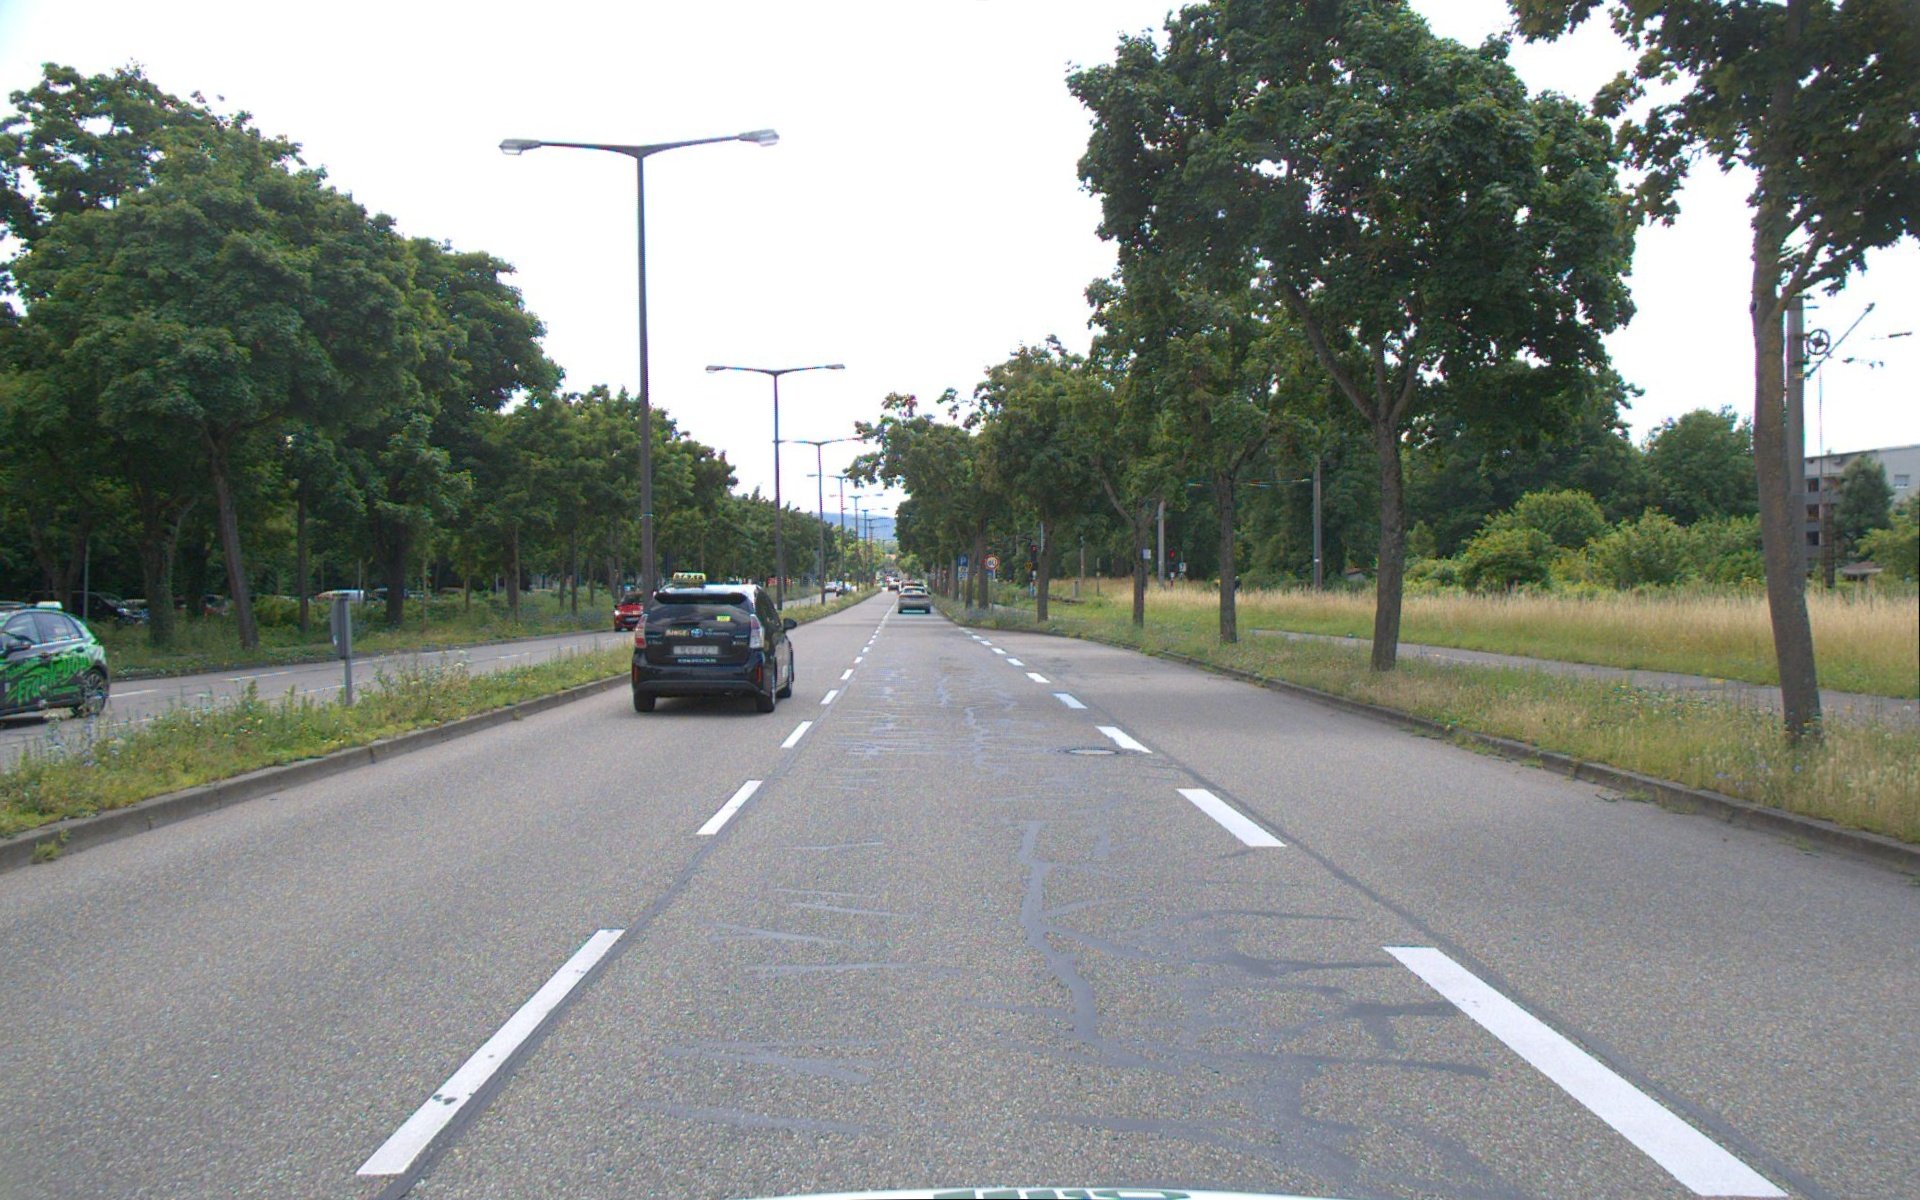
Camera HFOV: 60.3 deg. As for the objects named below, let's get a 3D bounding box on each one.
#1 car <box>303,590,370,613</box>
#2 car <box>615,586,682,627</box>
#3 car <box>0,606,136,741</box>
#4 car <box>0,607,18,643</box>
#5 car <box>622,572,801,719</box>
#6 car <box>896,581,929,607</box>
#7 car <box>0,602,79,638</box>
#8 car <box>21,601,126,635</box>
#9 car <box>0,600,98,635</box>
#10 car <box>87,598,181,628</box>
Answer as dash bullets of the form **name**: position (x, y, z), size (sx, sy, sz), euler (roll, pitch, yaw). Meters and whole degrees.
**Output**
- **car**: position (-41.014, 0.113, 108.828), size (3.706, 1.412, 1.786), euler (1, 1, 3)
- **car**: position (-12.451, 0.239, 66.334), size (1.840, 1.534, 3.799), euler (1, 1, 2)
- **car**: position (-11.937, 0.868, 19.879), size (1.718, 1.484, 4.470), euler (1, 1, 2)
- **car**: position (-39.660, 0.976, 65.502), size (3.706, 1.412, 1.786), euler (1, 1, 3)
- **car**: position (-3.125, 0.509, 21.527), size (1.743, 1.713, 4.000), euler (1, 1, -1)
- **car**: position (-2.919, -0.371, 101.513), size (1.953, 1.534, 3.998), euler (1, 1, -2)
- **car**: position (-39.556, 0.826, 69.890), size (3.706, 1.412, 1.786), euler (1, 1, 3)
- **car**: position (-39.649, 0.791, 74.006), size (3.706, 1.412, 1.786), euler (1, 1, 3)
- **car**: position (-39.700, 0.765, 71.694), size (3.706, 1.412, 1.786), euler (1, 1, 3)
- **car**: position (-40.676, 0.626, 81.500), size (3.706, 1.412, 1.786), euler (1, 1, 3)
